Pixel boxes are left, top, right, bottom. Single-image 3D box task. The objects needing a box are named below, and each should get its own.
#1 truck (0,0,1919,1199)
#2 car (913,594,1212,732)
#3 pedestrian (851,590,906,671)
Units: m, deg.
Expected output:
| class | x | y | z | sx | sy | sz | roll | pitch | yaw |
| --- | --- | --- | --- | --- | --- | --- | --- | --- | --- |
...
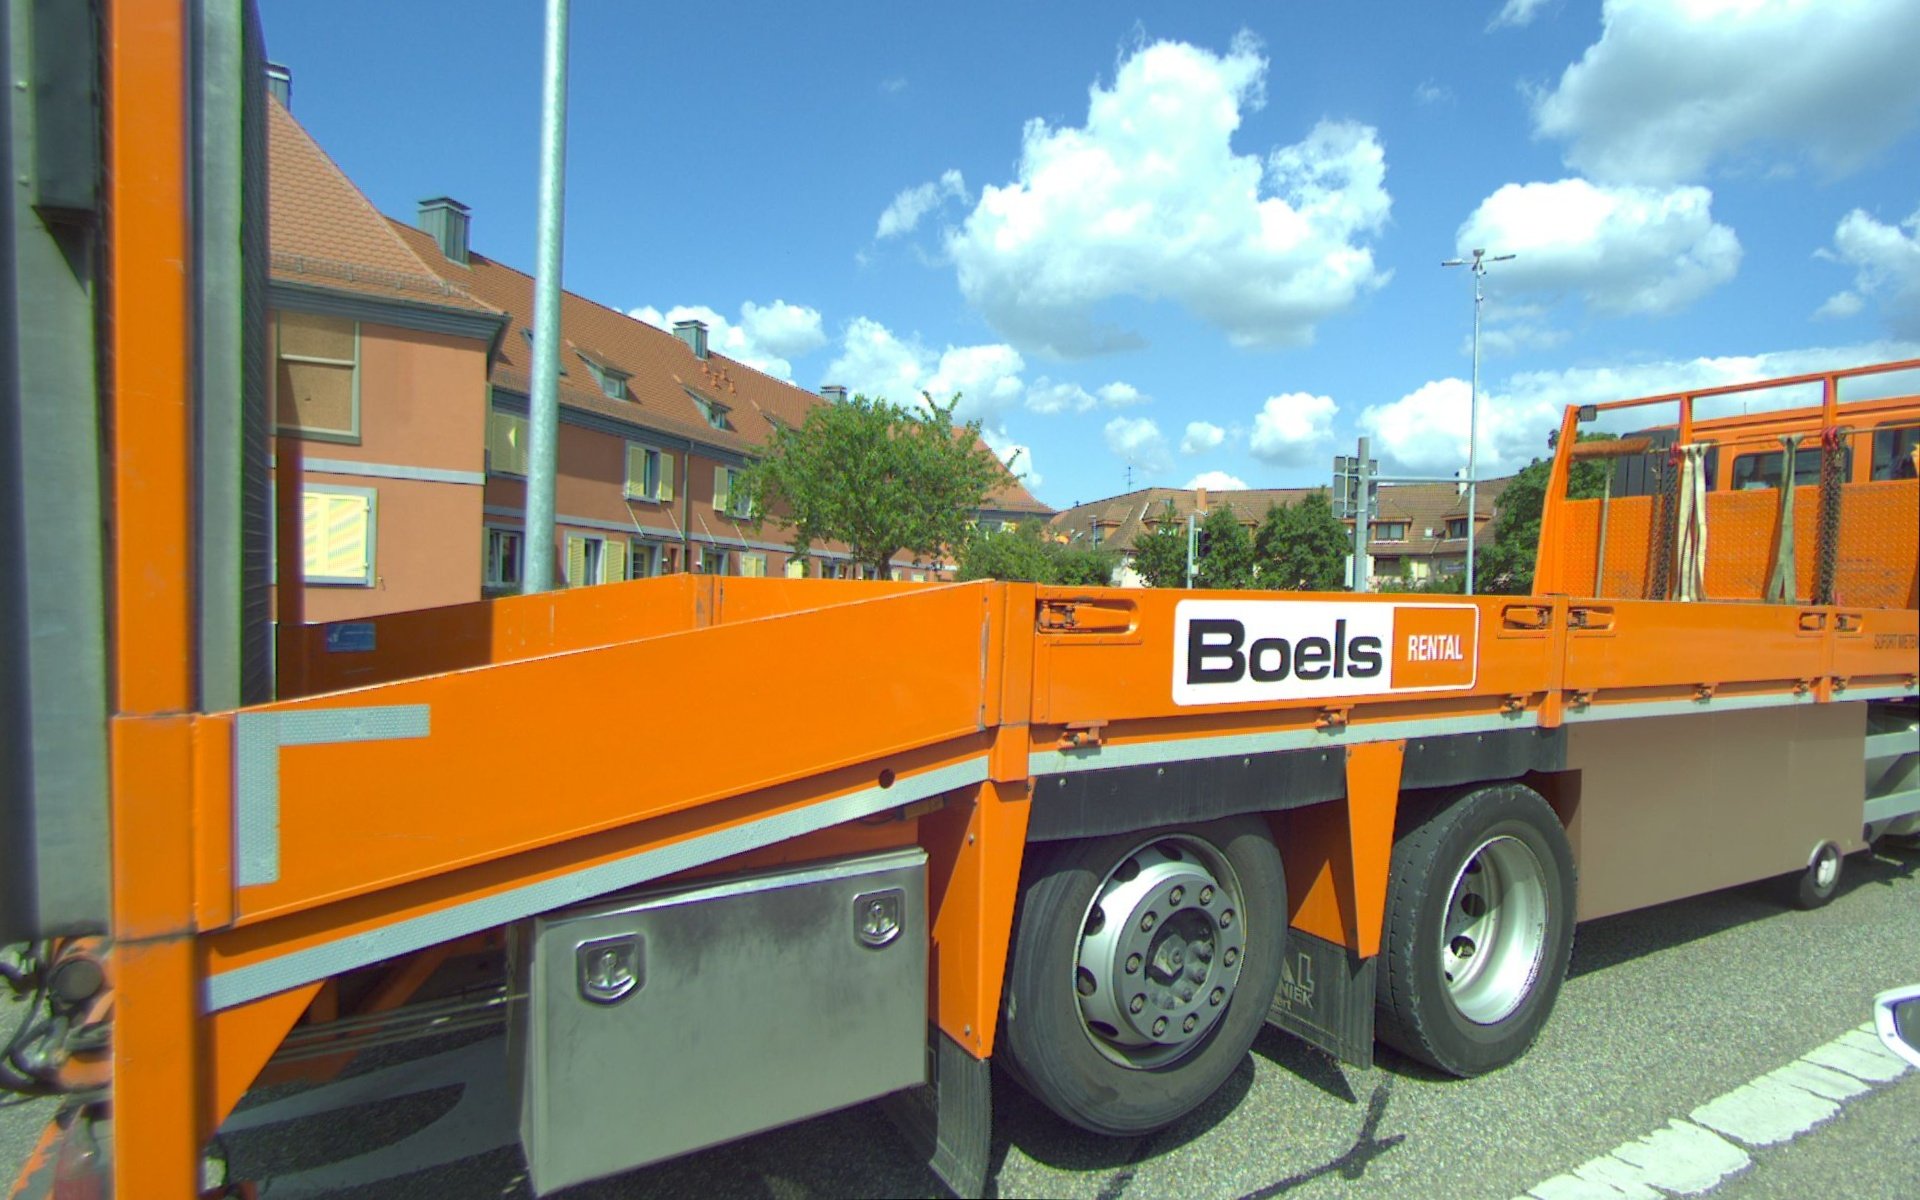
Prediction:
| class | x | y | z | sx | sy | sz | roll | pitch | yaw |
| --- | --- | --- | --- | --- | --- | --- | --- | --- | --- |
| truck | 2.527 | -0.353 | 4.969 | 10.946 | 3.459 | 3.054 | 2 | 1 | -32 |
| car | 1.497 | 0.827 | 14.266 | 3.955 | 1.711 | 1.785 | 1 | -1 | -32 |
| pedestrian | -1.668 | 0.623 | 20.630 | 0.841 | 1.604 | 0.692 | 2 | 1 | -32 |
